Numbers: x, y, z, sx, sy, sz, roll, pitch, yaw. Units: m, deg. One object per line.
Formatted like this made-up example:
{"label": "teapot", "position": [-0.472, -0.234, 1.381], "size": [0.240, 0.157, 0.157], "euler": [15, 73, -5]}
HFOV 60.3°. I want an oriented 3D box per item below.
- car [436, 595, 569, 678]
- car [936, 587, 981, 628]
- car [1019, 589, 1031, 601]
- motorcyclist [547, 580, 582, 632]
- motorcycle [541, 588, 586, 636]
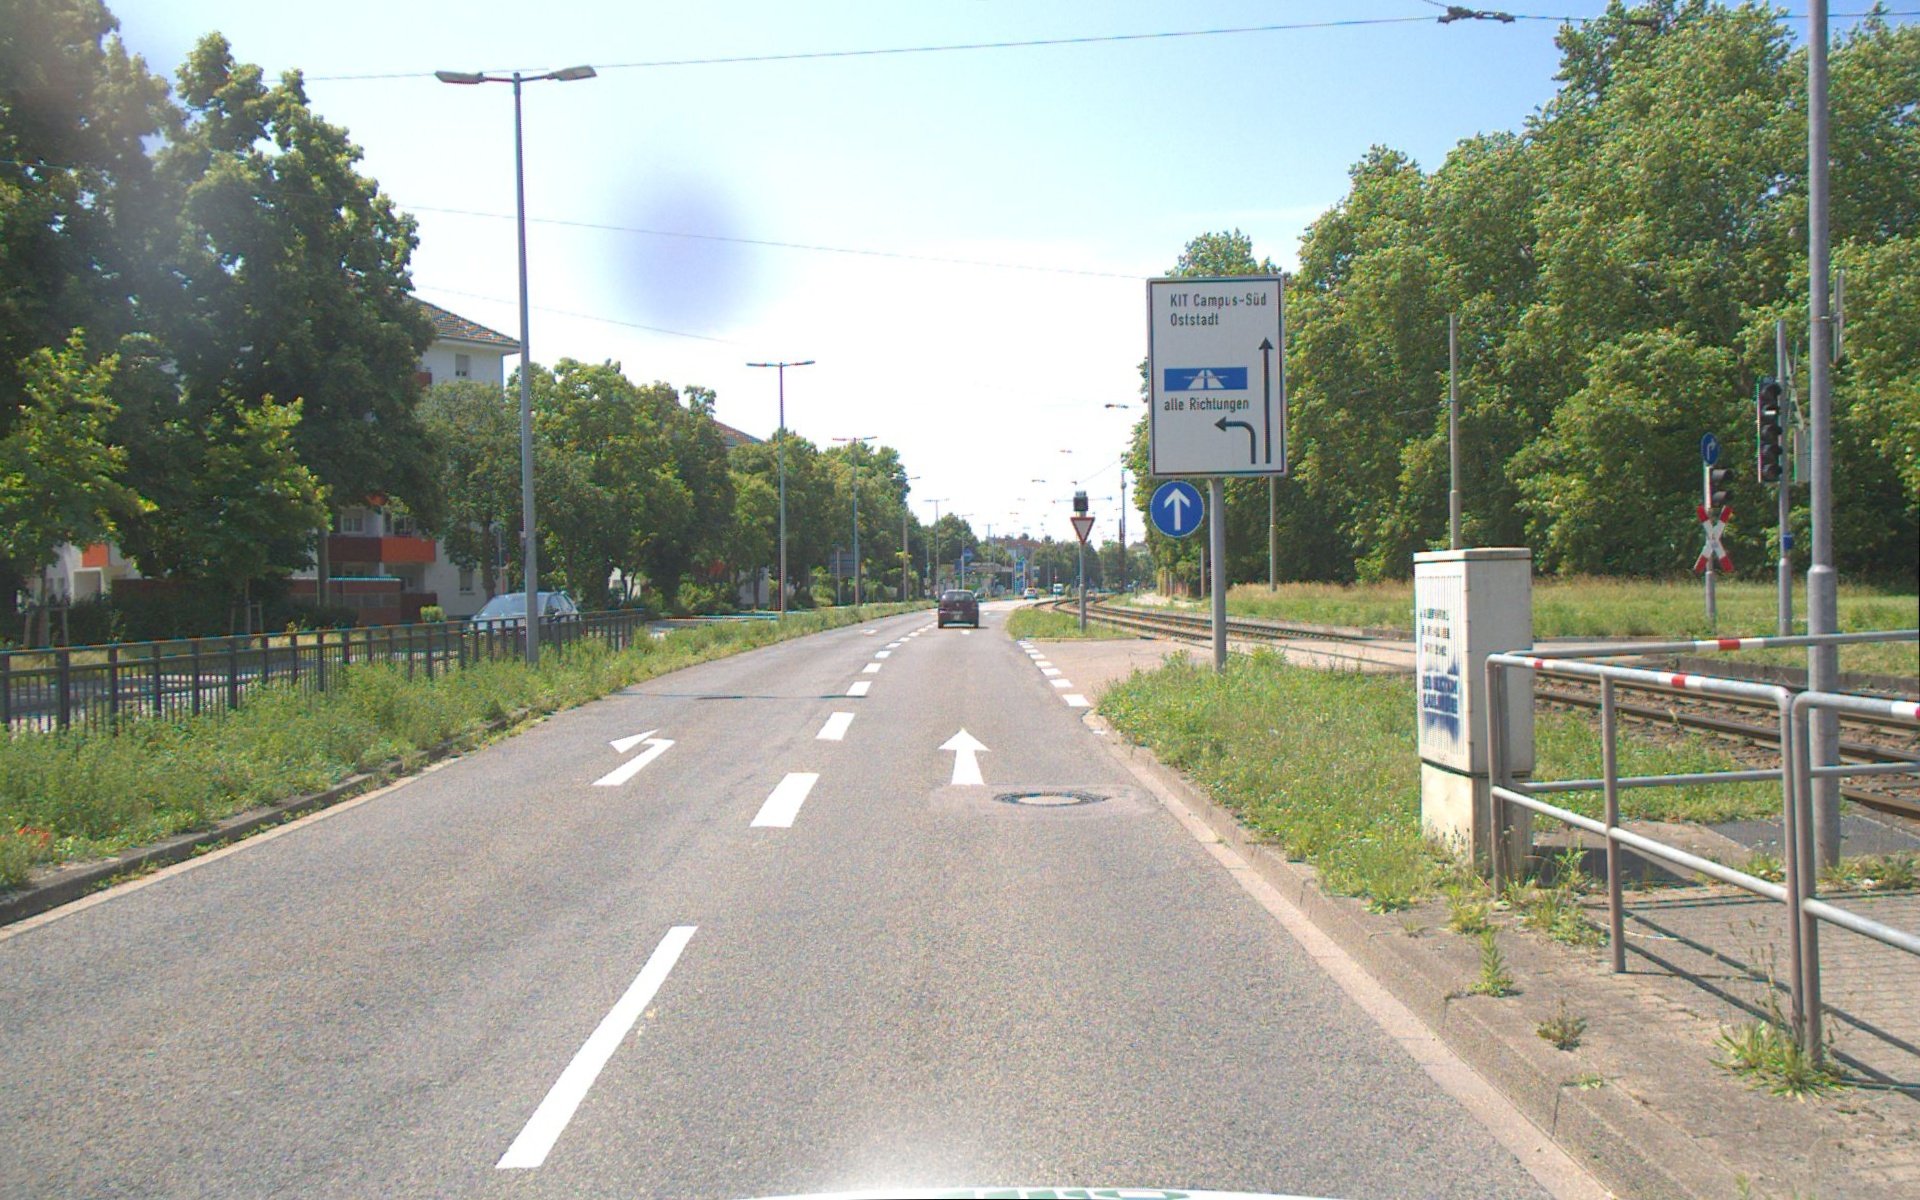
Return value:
{"label": "car", "position": [-9.497, 0.714, 34.653], "size": [1.721, 1.570, 4.159], "euler": [-2, 1, -2]}
{"label": "car", "position": [-0.056, 0.265, 65.116], "size": [1.668, 1.503, 3.716], "euler": [-2, 1, 0]}
{"label": "car", "position": [8.618, -0.665, 219.326], "size": [1.667, 1.506, 3.717], "euler": [0, 0, 2]}
{"label": "motorcyclist", "position": [-11.298, 0.160, 47.319], "size": [0.722, 1.428, 1.511], "euler": [-2, 1, -5]}
{"label": "motorcycle", "position": [-11.324, 0.328, 47.353], "size": [0.789, 1.321, 2.394], "euler": [-2, 0, -3]}
